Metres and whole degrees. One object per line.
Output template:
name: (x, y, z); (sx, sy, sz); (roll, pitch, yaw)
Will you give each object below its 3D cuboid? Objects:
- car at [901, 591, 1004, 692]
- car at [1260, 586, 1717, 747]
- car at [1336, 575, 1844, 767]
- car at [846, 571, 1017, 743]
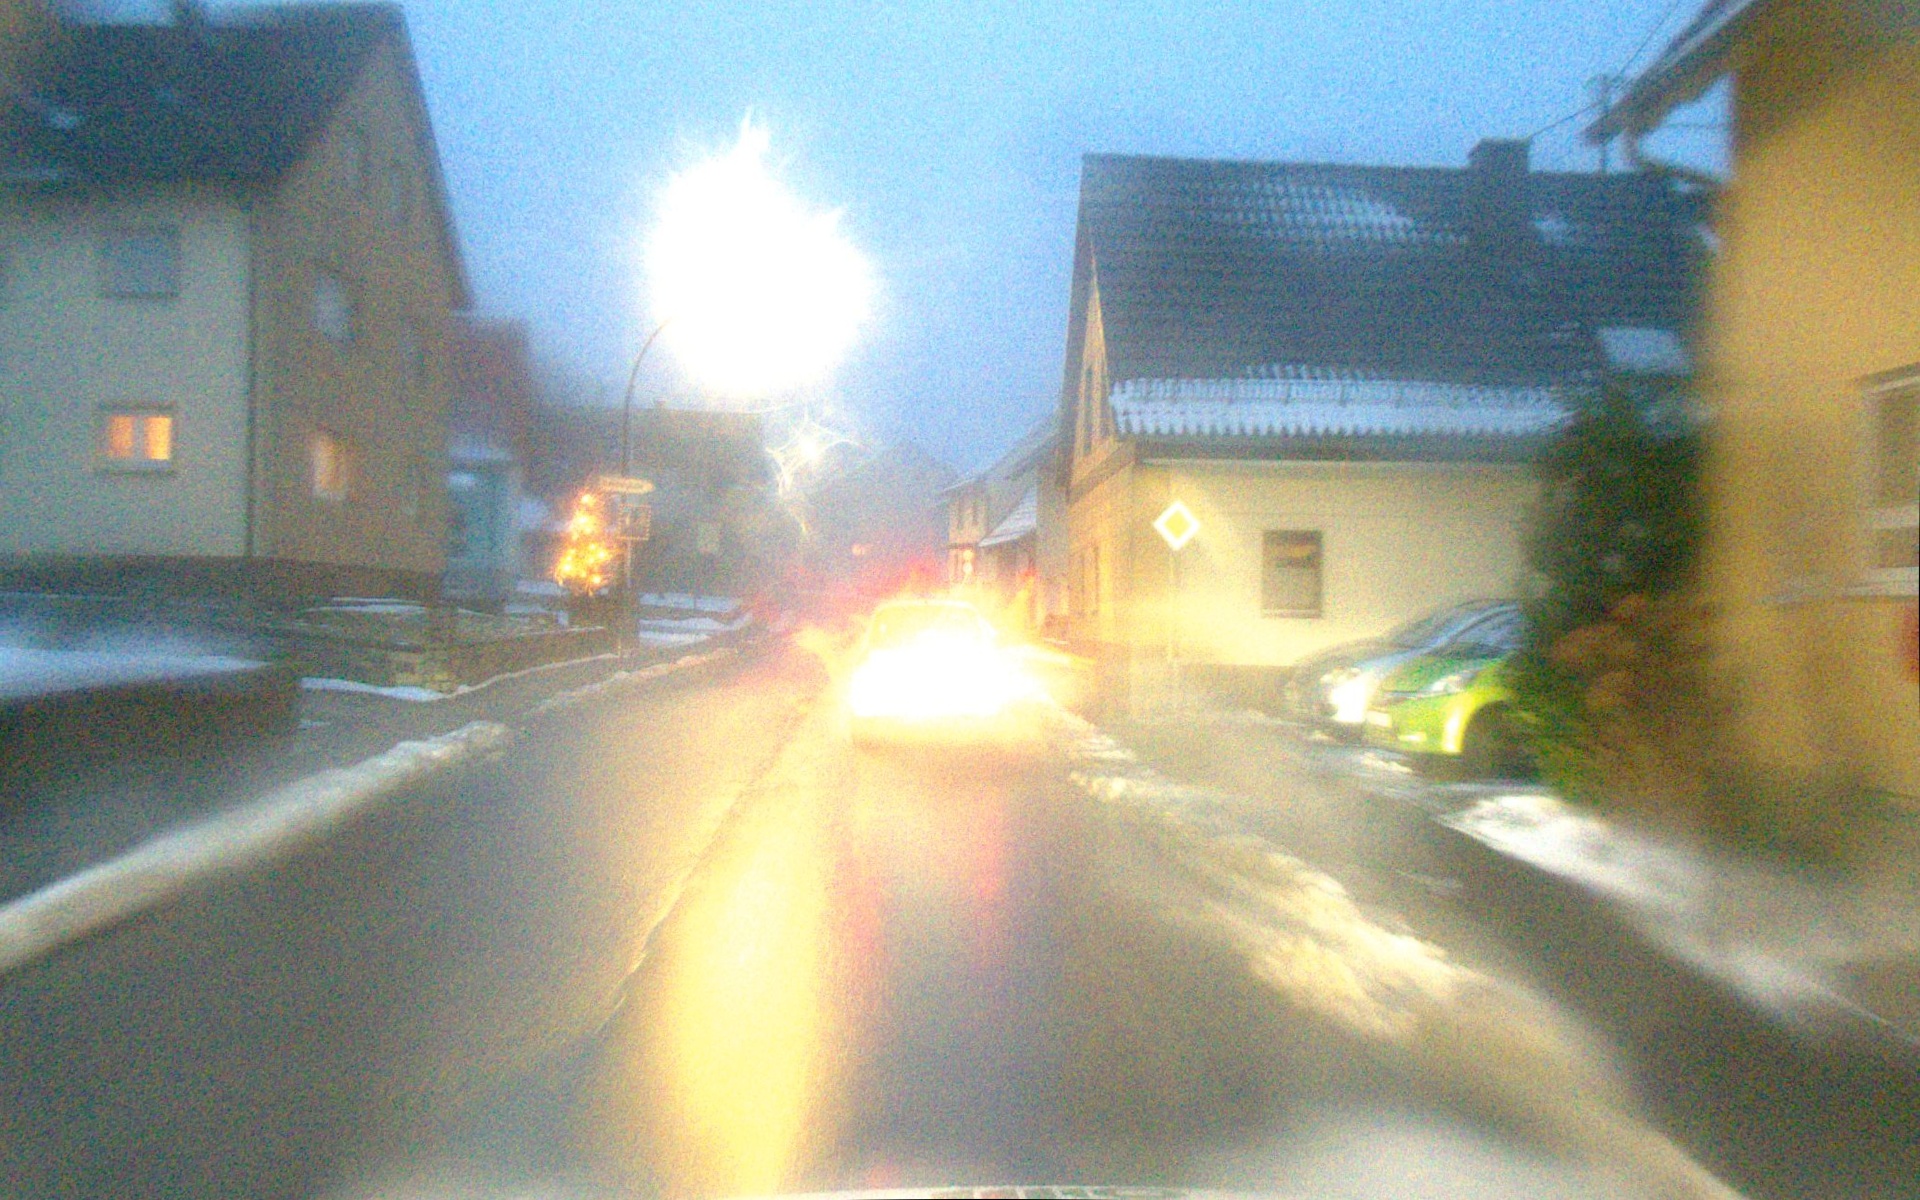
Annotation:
car: (-0.192, 0.707, 29.367); (1.612, 1.624, 3.697); (2, -1, -3)
car: (5.400, 0.658, 17.217); (4.089, 1.458, 1.899); (2, 1, -6)
car: (5.321, 0.561, 14.244); (3.670, 1.523, 1.819); (0, 1, -7)
car: (-0.340, 0.576, 18.033); (1.612, 1.624, 3.698); (2, -1, -2)
